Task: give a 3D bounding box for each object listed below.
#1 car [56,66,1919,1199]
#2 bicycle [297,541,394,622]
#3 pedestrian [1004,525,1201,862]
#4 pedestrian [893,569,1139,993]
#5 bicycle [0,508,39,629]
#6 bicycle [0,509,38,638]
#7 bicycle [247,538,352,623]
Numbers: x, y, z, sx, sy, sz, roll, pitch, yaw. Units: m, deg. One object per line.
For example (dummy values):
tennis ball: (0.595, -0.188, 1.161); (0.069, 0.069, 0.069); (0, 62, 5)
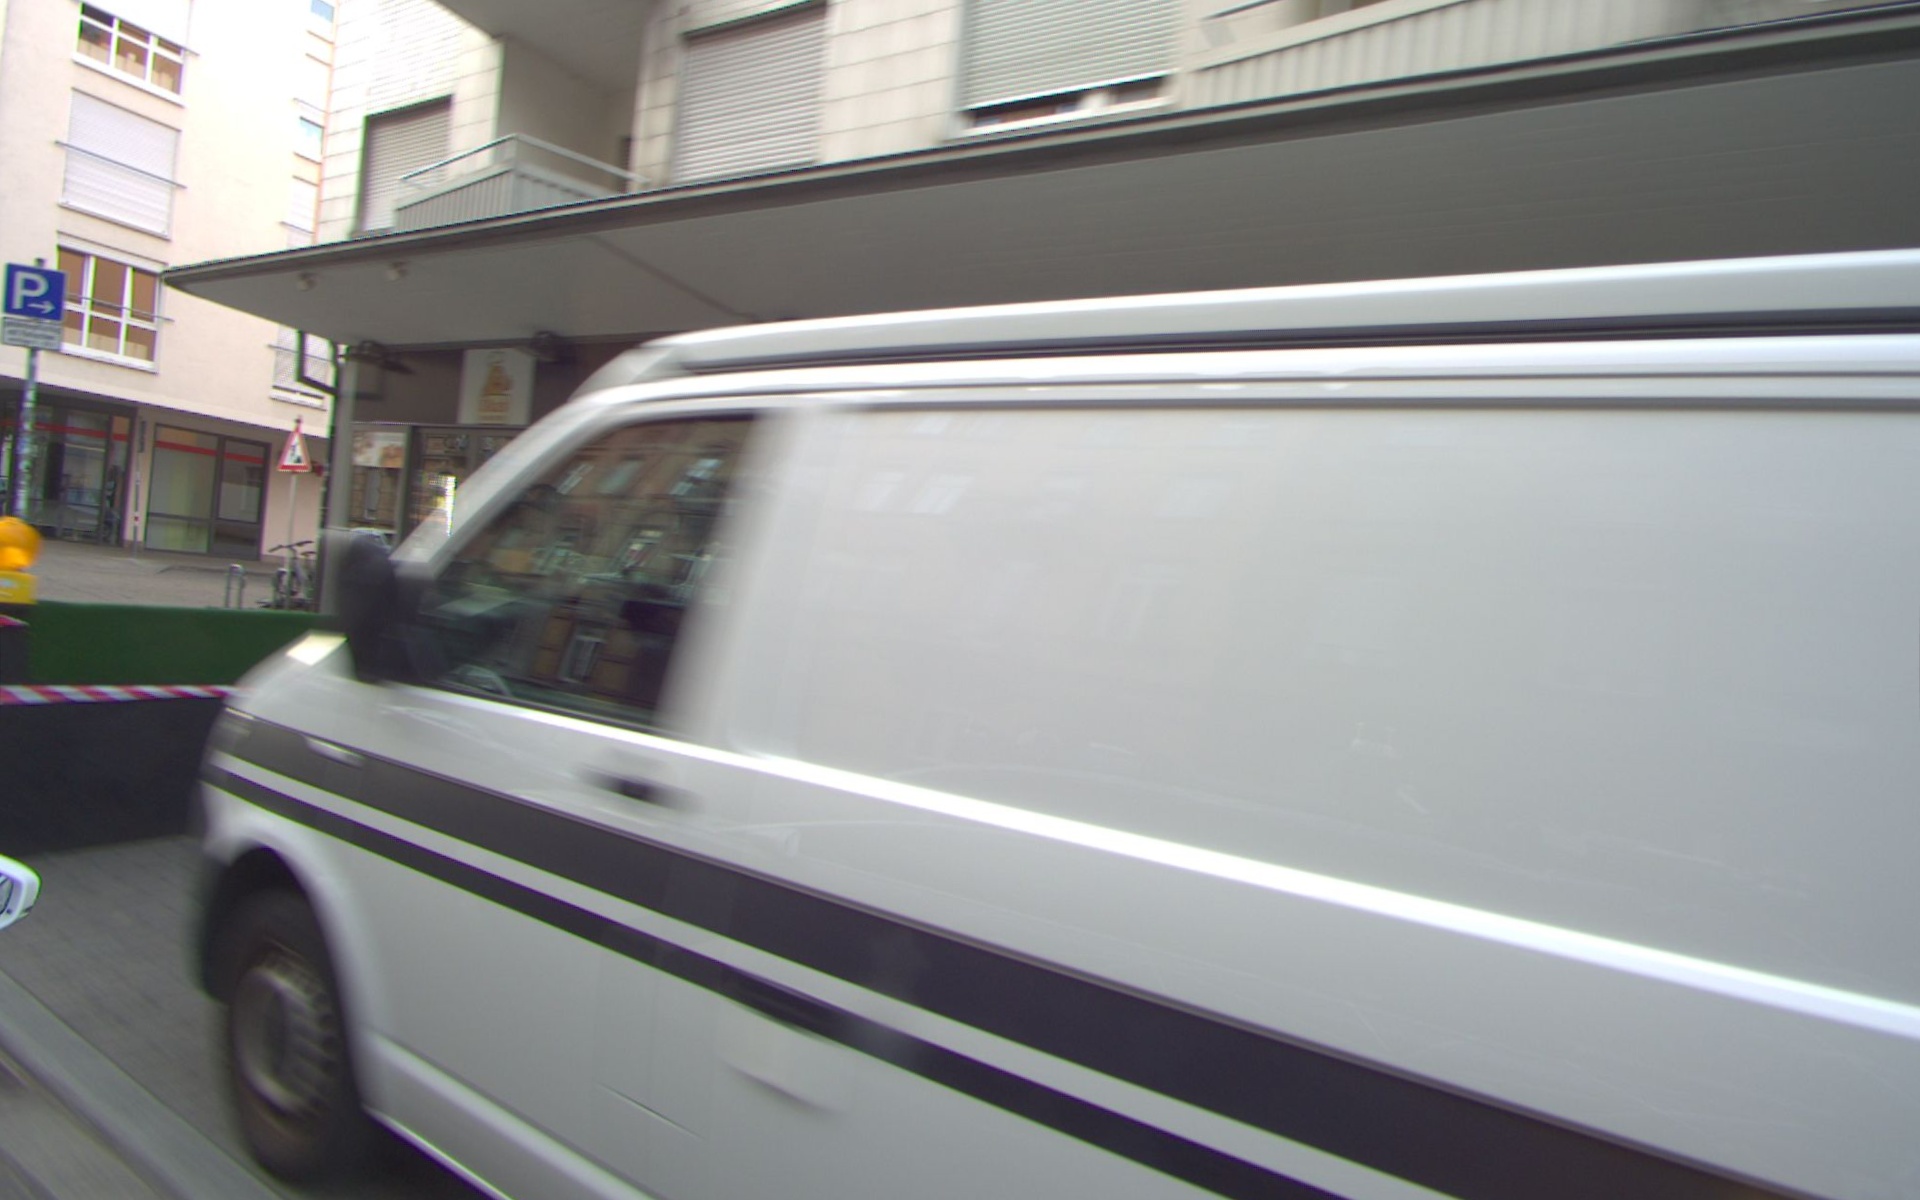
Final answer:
car: (0.178, 0.476, 2.299); (4.919, 2.000, 1.959); (7, 3, 31)
bicycle: (-9.204, -0.289, 15.051); (1.730, 1.080, 0.562); (5, 1, 36)
pedestrian: (0.800, 0.480, 5.589); (0.732, 1.687, 0.709); (6, 2, 30)
pedestrian: (0.286, 0.821, 5.006); (0.846, 1.852, 0.709); (6, 2, 30)
bicycle: (-10.245, -0.388, 9.655); (1.917, 1.150, 0.653); (5, 2, -22)
bicycle: (-9.598, -0.317, 8.937); (1.917, 1.150, 0.653); (5, 2, -22)
bicycle: (-9.518, -0.296, 14.465); (1.933, 1.080, 0.562); (5, 1, 36)
